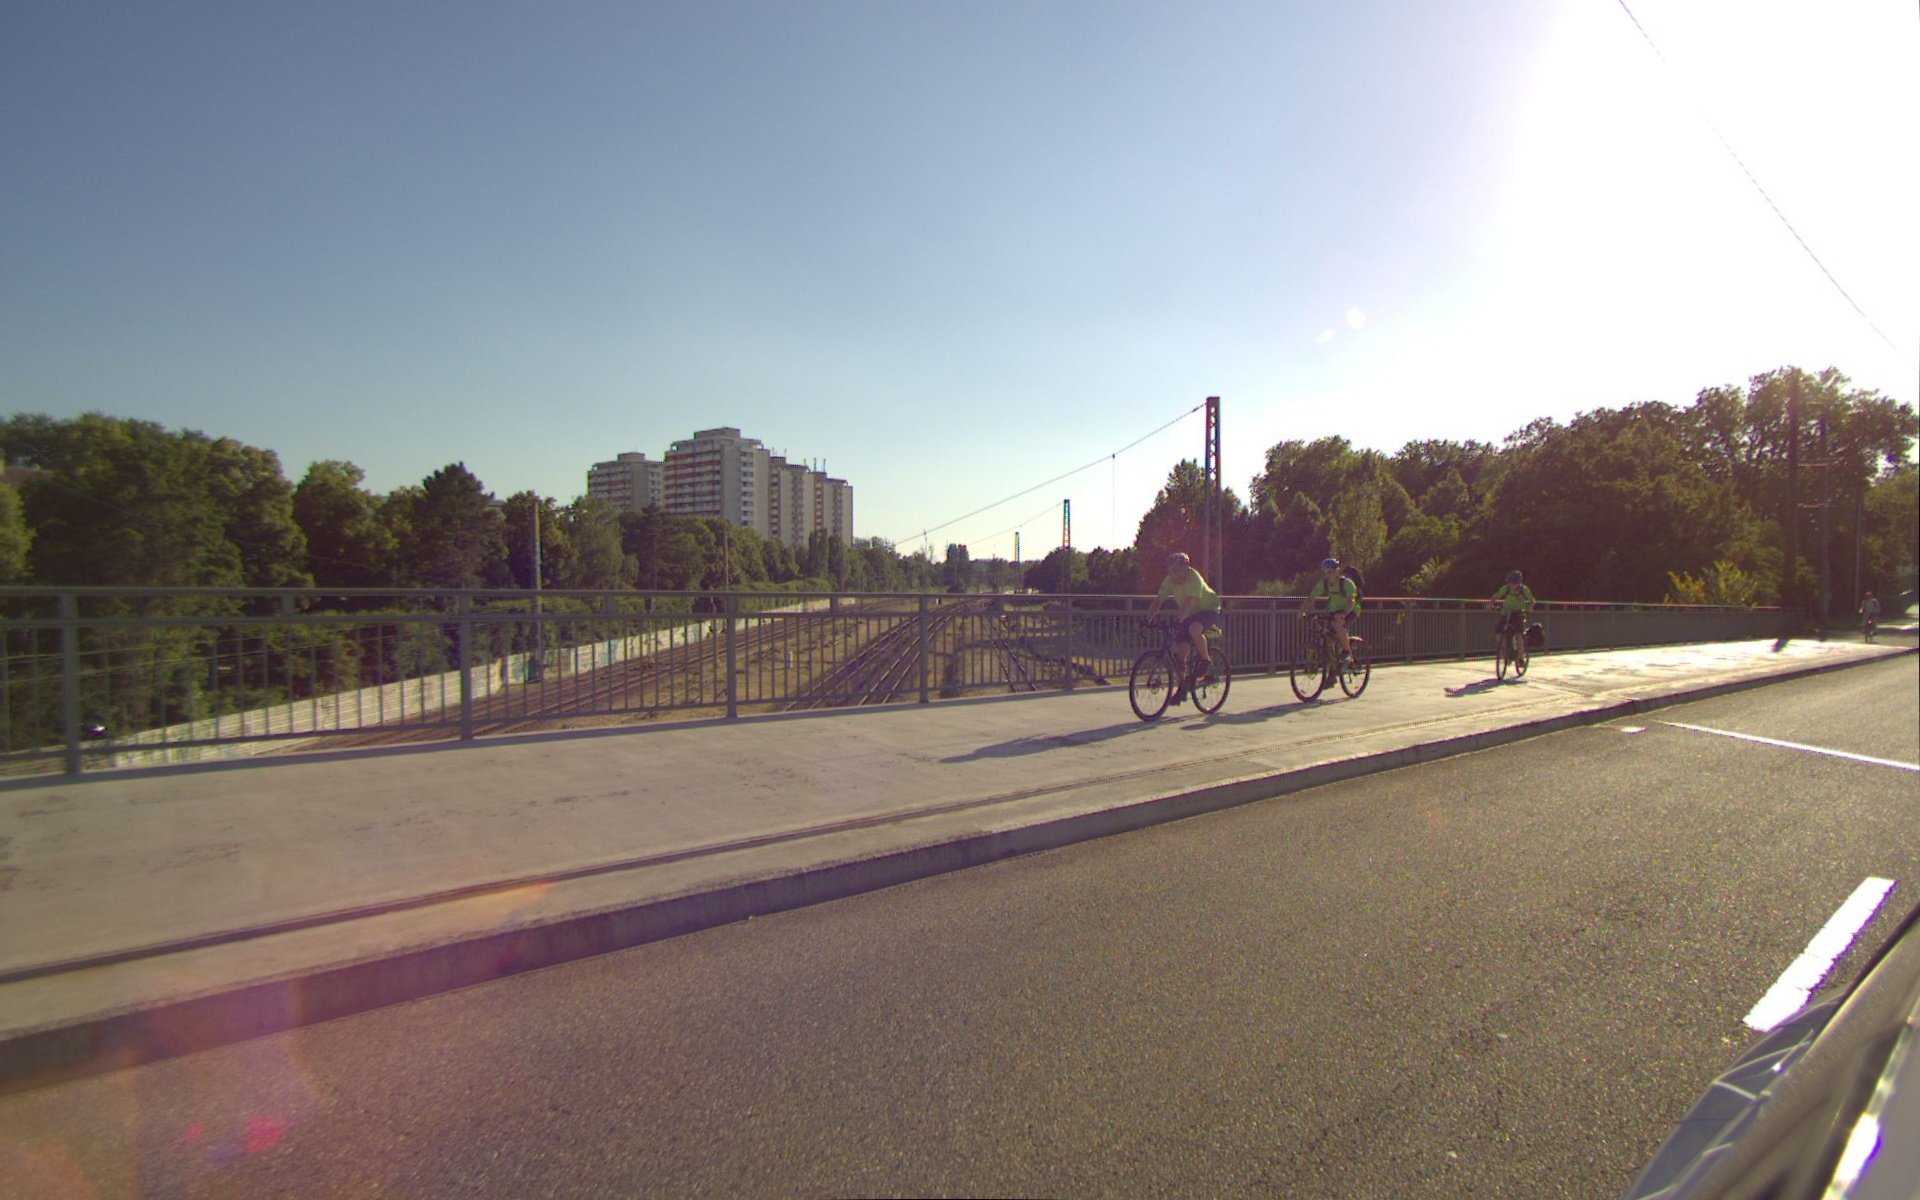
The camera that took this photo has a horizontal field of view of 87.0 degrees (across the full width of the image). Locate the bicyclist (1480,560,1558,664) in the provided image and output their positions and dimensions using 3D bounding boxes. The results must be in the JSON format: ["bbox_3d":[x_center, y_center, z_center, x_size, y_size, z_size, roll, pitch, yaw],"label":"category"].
[{"bbox_3d":[8.793,0.182,15.914,0.881,1.582,0.813,1,0,-41],"label":"bicyclist"}]

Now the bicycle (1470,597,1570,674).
[{"bbox_3d":[8.875,0.533,16.001,2.177,1.137,0.684,1,0,-41],"label":"bicycle"}]

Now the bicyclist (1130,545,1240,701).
[{"bbox_3d":[2.317,0.217,10.409,0.987,1.527,0.627,0,0,-38],"label":"bicyclist"}]

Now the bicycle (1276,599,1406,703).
[{"bbox_3d":[4.691,0.577,12.381,2.006,1.136,0.626,-1,1,-41],"label":"bicycle"}]

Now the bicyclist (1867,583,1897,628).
[{"bbox_3d":[35.443,0.208,38.898,1.182,1.711,0.731,0,-2,-44],"label":"bicyclist"}]

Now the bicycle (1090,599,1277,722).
[{"bbox_3d":[2.345,0.565,10.440,2.218,1.136,0.627,0,1,-38],"label":"bicycle"}]

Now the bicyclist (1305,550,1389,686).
[{"bbox_3d":[4.791,0.198,12.515,0.915,1.612,0.626,-1,1,-41],"label":"bicyclist"}]

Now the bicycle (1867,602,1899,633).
[{"bbox_3d":[35.444,0.672,38.860,2.697,1.137,0.731,-1,-1,-44],"label":"bicycle"}]
